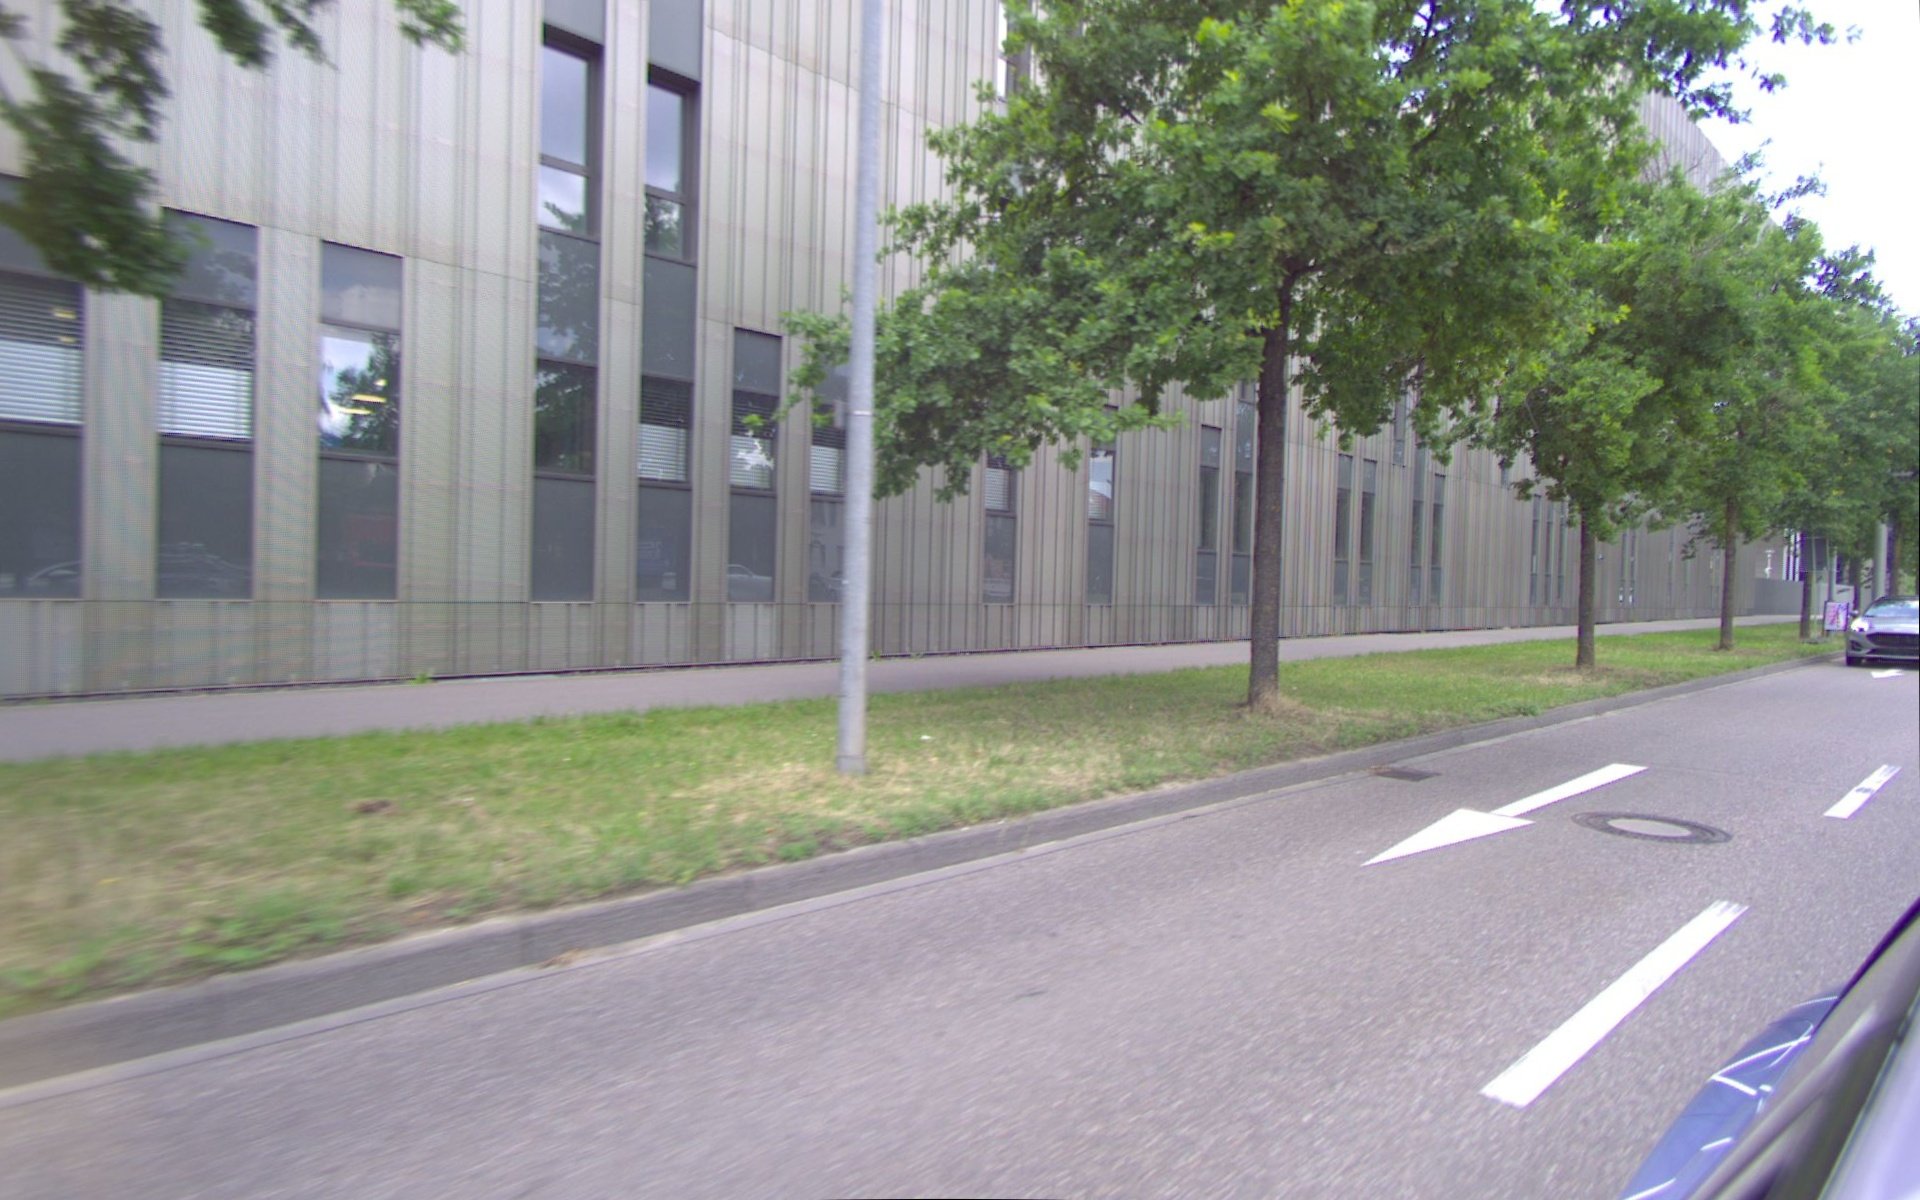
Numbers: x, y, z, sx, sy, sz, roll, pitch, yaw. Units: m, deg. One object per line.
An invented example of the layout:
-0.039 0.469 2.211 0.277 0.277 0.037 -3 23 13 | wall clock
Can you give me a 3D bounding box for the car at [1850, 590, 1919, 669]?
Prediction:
20.654 0.588 21.735 3.885 1.594 1.822 0 0 -41 | car
